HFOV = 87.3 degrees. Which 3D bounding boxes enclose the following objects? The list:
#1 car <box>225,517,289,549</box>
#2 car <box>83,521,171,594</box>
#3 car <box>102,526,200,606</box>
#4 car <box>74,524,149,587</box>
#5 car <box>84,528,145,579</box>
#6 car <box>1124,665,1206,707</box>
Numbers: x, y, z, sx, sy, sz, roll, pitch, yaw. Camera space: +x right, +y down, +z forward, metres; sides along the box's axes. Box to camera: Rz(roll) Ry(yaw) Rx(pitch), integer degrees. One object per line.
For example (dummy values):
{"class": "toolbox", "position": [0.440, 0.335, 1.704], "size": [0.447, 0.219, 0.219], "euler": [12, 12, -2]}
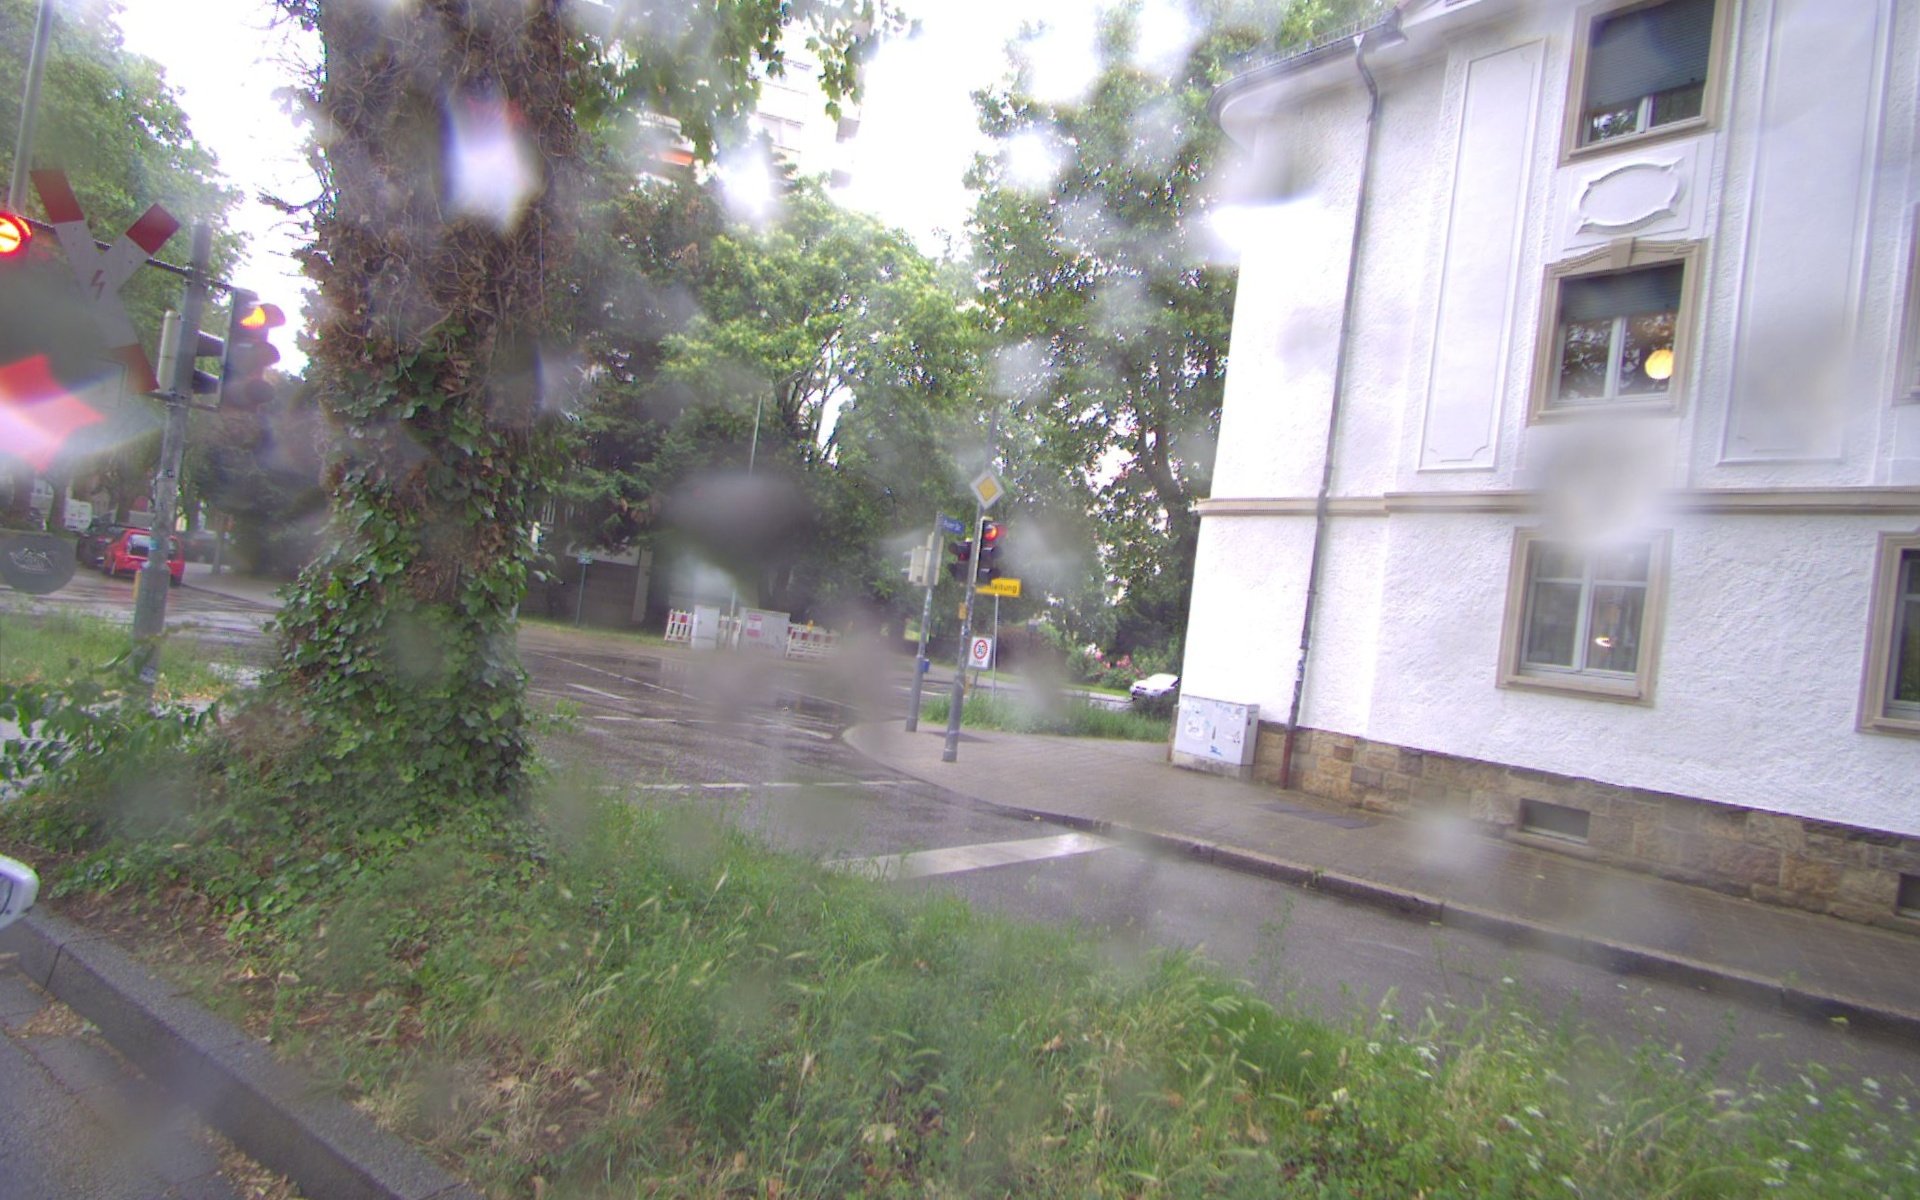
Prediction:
{"class": "car", "position": [-57.163, -5.453, 81.819], "size": [3.969, 2.038, 1.689], "euler": [7, 0, -39]}
{"class": "car", "position": [-27.979, -1.447, 33.739], "size": [1.986, 2.038, 3.953], "euler": [7, 0, -42]}
{"class": "car", "position": [-24.829, -1.080, 30.827], "size": [1.986, 2.038, 3.953], "euler": [7, 0, -42]}
{"class": "car", "position": [-32.918, -1.748, 38.975], "size": [1.986, 2.038, 3.953], "euler": [7, 0, -42]}
{"class": "car", "position": [-40.592, -2.254, 48.255], "size": [1.986, 2.038, 3.953], "euler": [7, 0, -42]}
{"class": "car", "position": [9.328, 3.917, 45.637], "size": [3.630, 1.504, 1.704], "euler": [8, 0, -43]}
